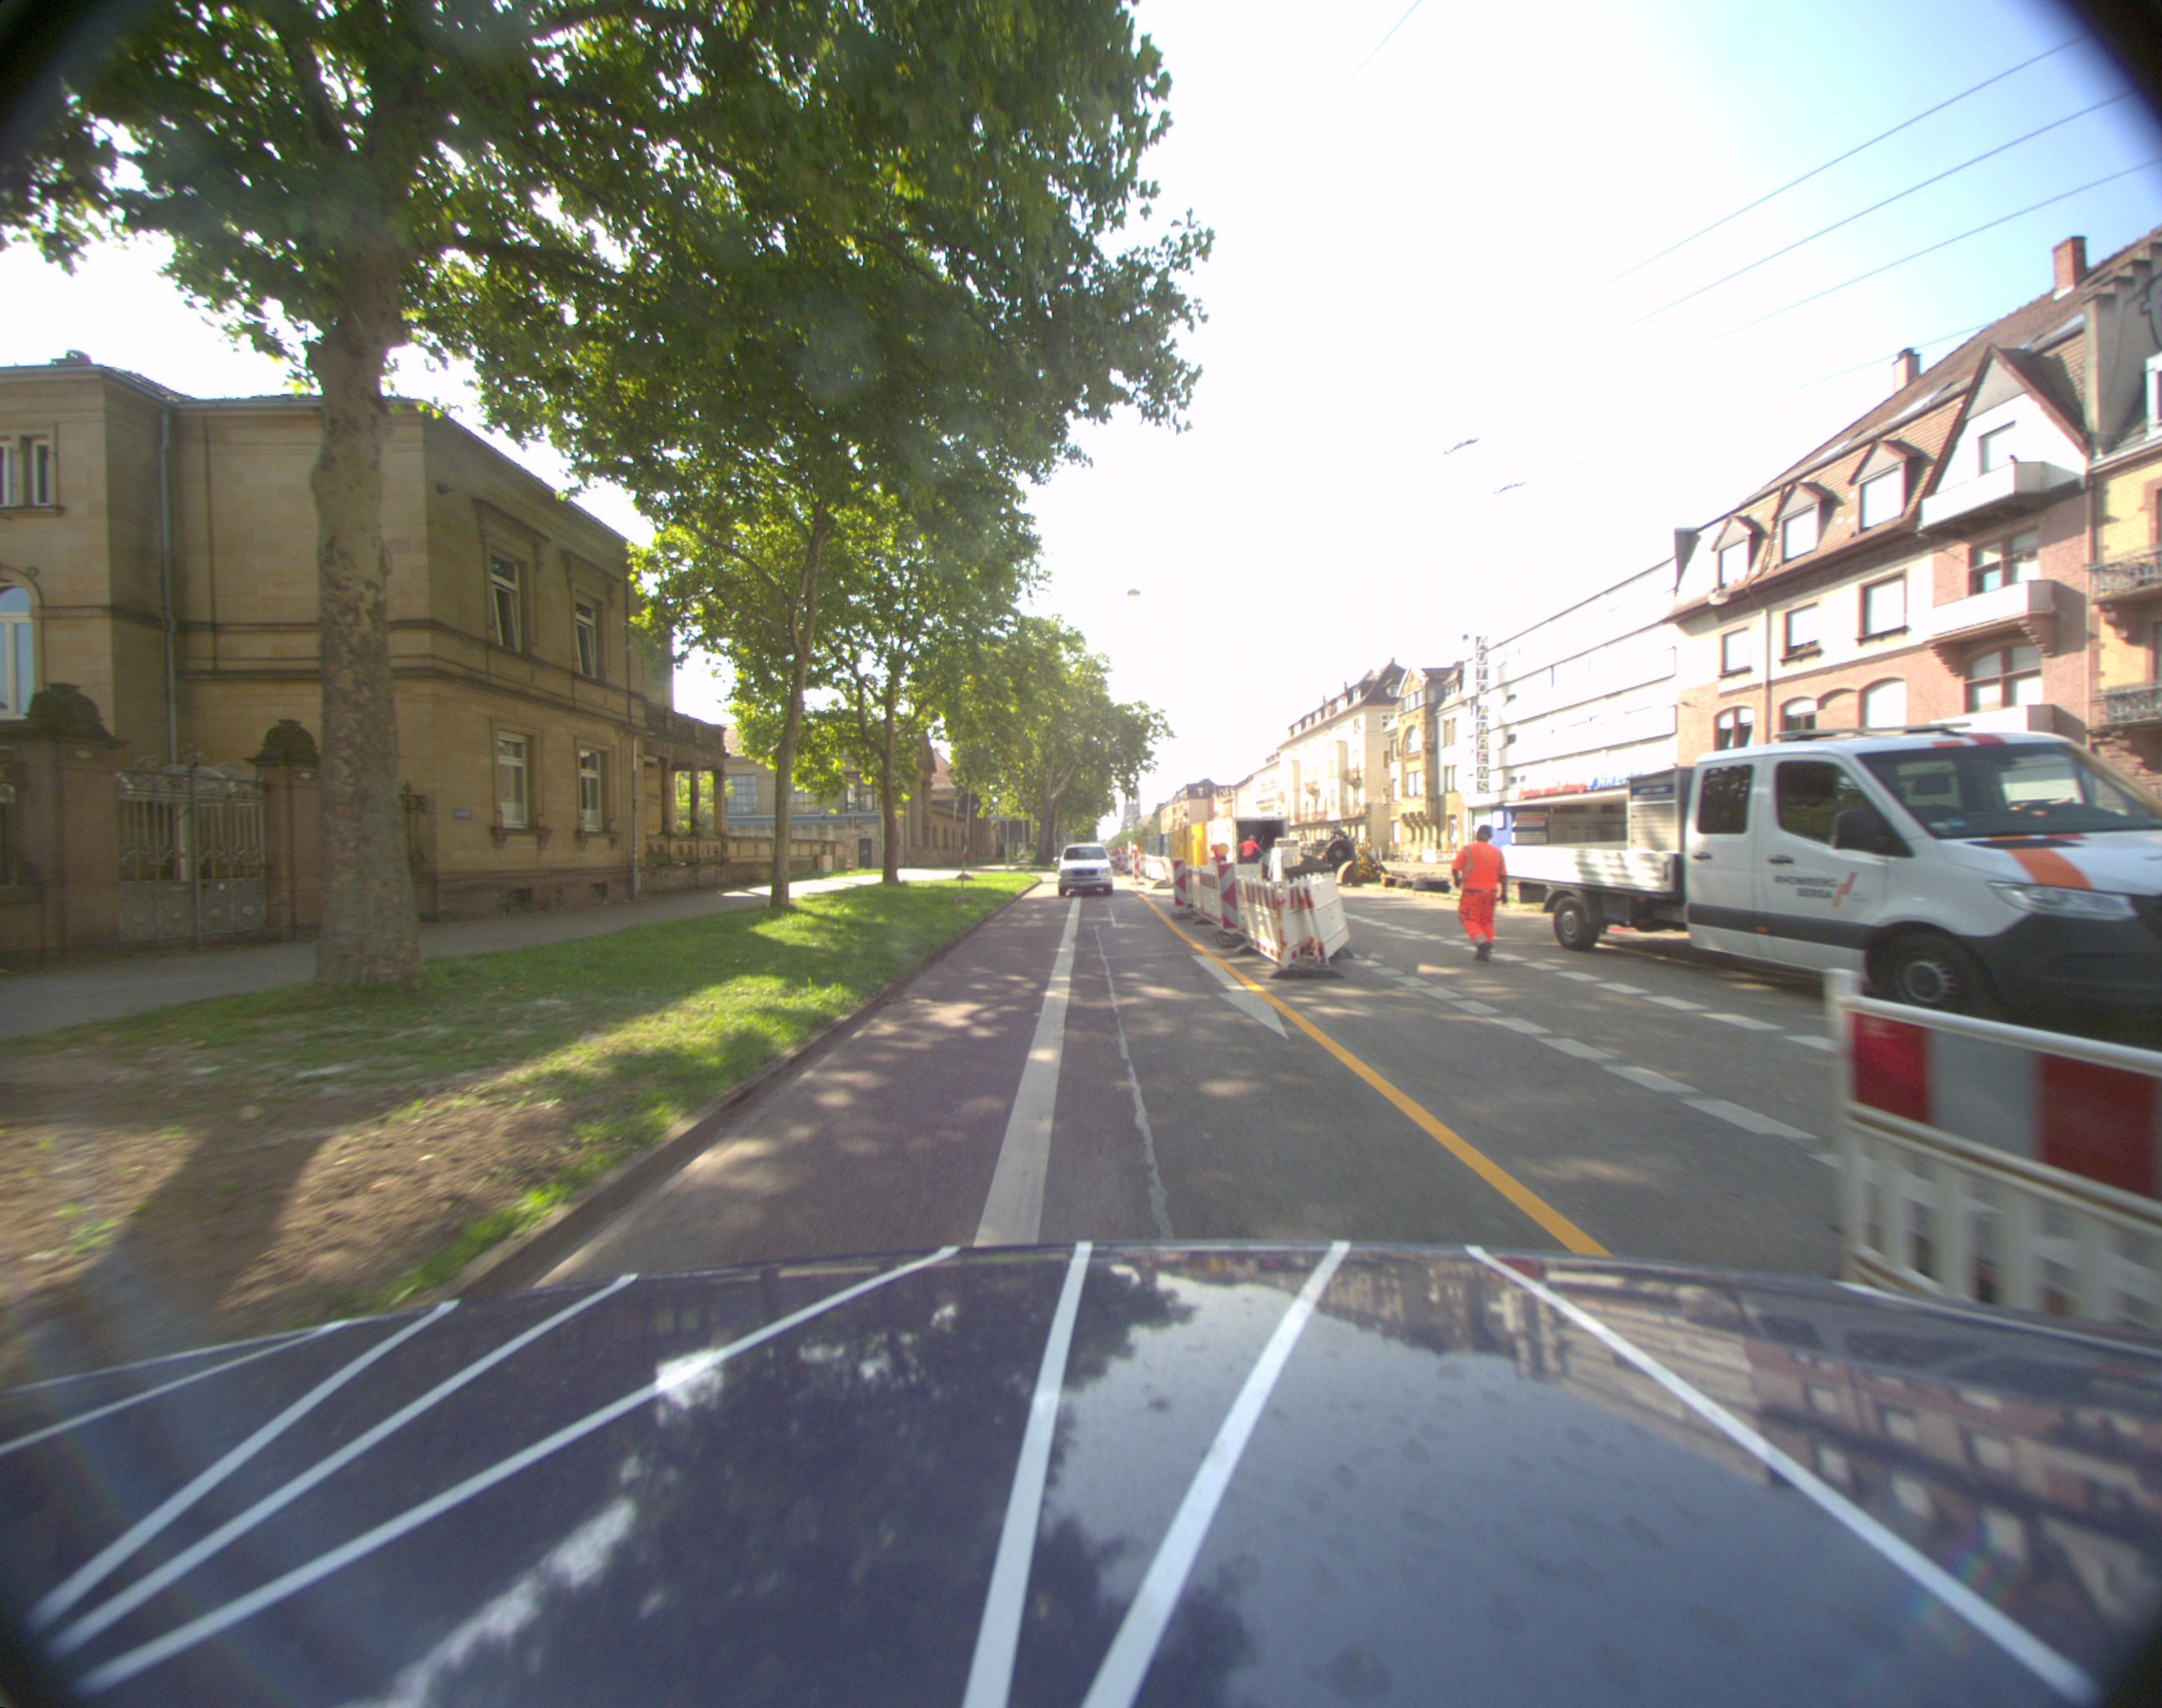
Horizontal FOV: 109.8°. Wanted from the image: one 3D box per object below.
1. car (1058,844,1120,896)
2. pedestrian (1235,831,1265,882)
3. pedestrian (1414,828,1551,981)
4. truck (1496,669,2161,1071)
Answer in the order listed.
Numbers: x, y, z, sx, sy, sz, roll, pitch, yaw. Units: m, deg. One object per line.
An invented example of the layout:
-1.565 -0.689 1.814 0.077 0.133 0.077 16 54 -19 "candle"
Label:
0.271 0.494 27.303 1.998 1.686 5.225 0 1 0 "car"
6.830 0.106 30.615 0.909 2.002 0.913 -2 2 27 "pedestrian"
4.713 0.555 9.018 1.034 1.700 1.095 0 1 -1 "pedestrian"
7.077 0.052 7.663 2.163 2.209 7.050 0 1 2 "truck"
